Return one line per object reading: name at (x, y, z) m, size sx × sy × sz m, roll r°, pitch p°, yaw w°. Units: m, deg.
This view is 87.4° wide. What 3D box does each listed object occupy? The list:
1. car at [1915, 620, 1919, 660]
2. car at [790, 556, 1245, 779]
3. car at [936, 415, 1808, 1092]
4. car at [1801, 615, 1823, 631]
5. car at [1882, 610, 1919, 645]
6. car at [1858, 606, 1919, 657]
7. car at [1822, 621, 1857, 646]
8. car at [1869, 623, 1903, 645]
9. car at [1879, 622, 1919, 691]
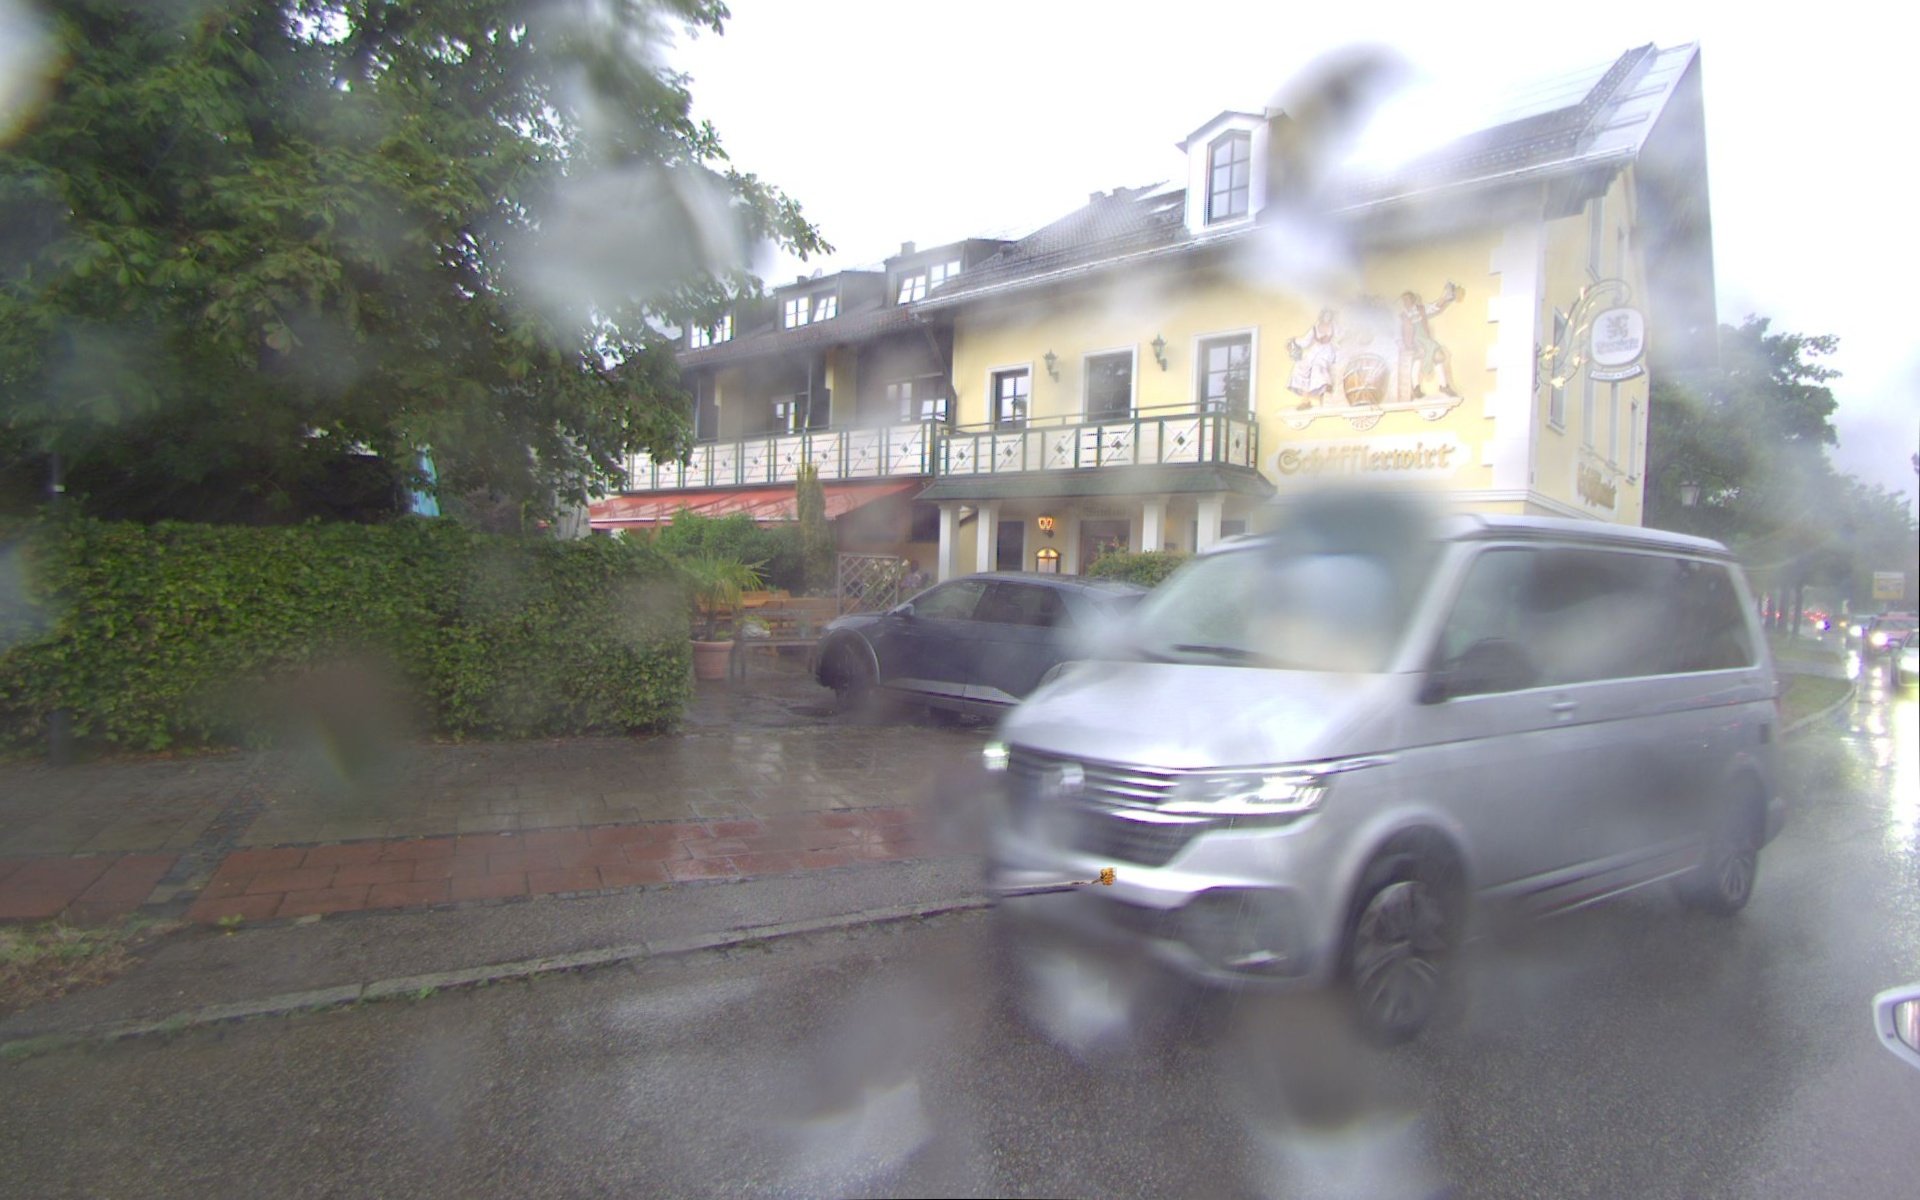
car at (49.054, 2.073, 49.761) m, size 2.144 × 1.925 × 4.989 m, roll 3°, pitch 2°, yaw 40°
car at (0.424, 0.476, 10.356) m, size 4.421 × 1.589 × 1.830 m, roll 6°, pitch 6°, yaw 39°
car at (2.330, 0.526, 5.066) m, size 4.654 × 1.997 × 1.839 m, roll 2°, pitch -1°, yaw -35°
car at (95.891, 2.615, 112.999) m, size 1.841 × 1.781 × 4.460 m, roll -2°, pitch -2°, yaw 41°
car at (56.554, 1.634, 59.815) m, size 2.144 × 1.925 × 4.989 m, roll 3°, pitch 2°, yaw 40°
car at (34.531, 1.164, 37.183) m, size 1.842 × 1.781 × 4.459 m, roll -2°, pitch -2°, yaw 42°
car at (64.871, 2.468, 74.153) m, size 1.841 × 1.781 × 4.460 m, roll -2°, pitch -2°, yaw 41°
car at (90.459, 3.314, 98.161) m, size 2.144 × 1.925 × 4.989 m, roll 3°, pitch 2°, yaw 40°
car at (21.925, 1.226, 22.445) m, size 1.840 × 1.377 × 4.462 m, roll 0°, pitch 0°, yaw 40°
